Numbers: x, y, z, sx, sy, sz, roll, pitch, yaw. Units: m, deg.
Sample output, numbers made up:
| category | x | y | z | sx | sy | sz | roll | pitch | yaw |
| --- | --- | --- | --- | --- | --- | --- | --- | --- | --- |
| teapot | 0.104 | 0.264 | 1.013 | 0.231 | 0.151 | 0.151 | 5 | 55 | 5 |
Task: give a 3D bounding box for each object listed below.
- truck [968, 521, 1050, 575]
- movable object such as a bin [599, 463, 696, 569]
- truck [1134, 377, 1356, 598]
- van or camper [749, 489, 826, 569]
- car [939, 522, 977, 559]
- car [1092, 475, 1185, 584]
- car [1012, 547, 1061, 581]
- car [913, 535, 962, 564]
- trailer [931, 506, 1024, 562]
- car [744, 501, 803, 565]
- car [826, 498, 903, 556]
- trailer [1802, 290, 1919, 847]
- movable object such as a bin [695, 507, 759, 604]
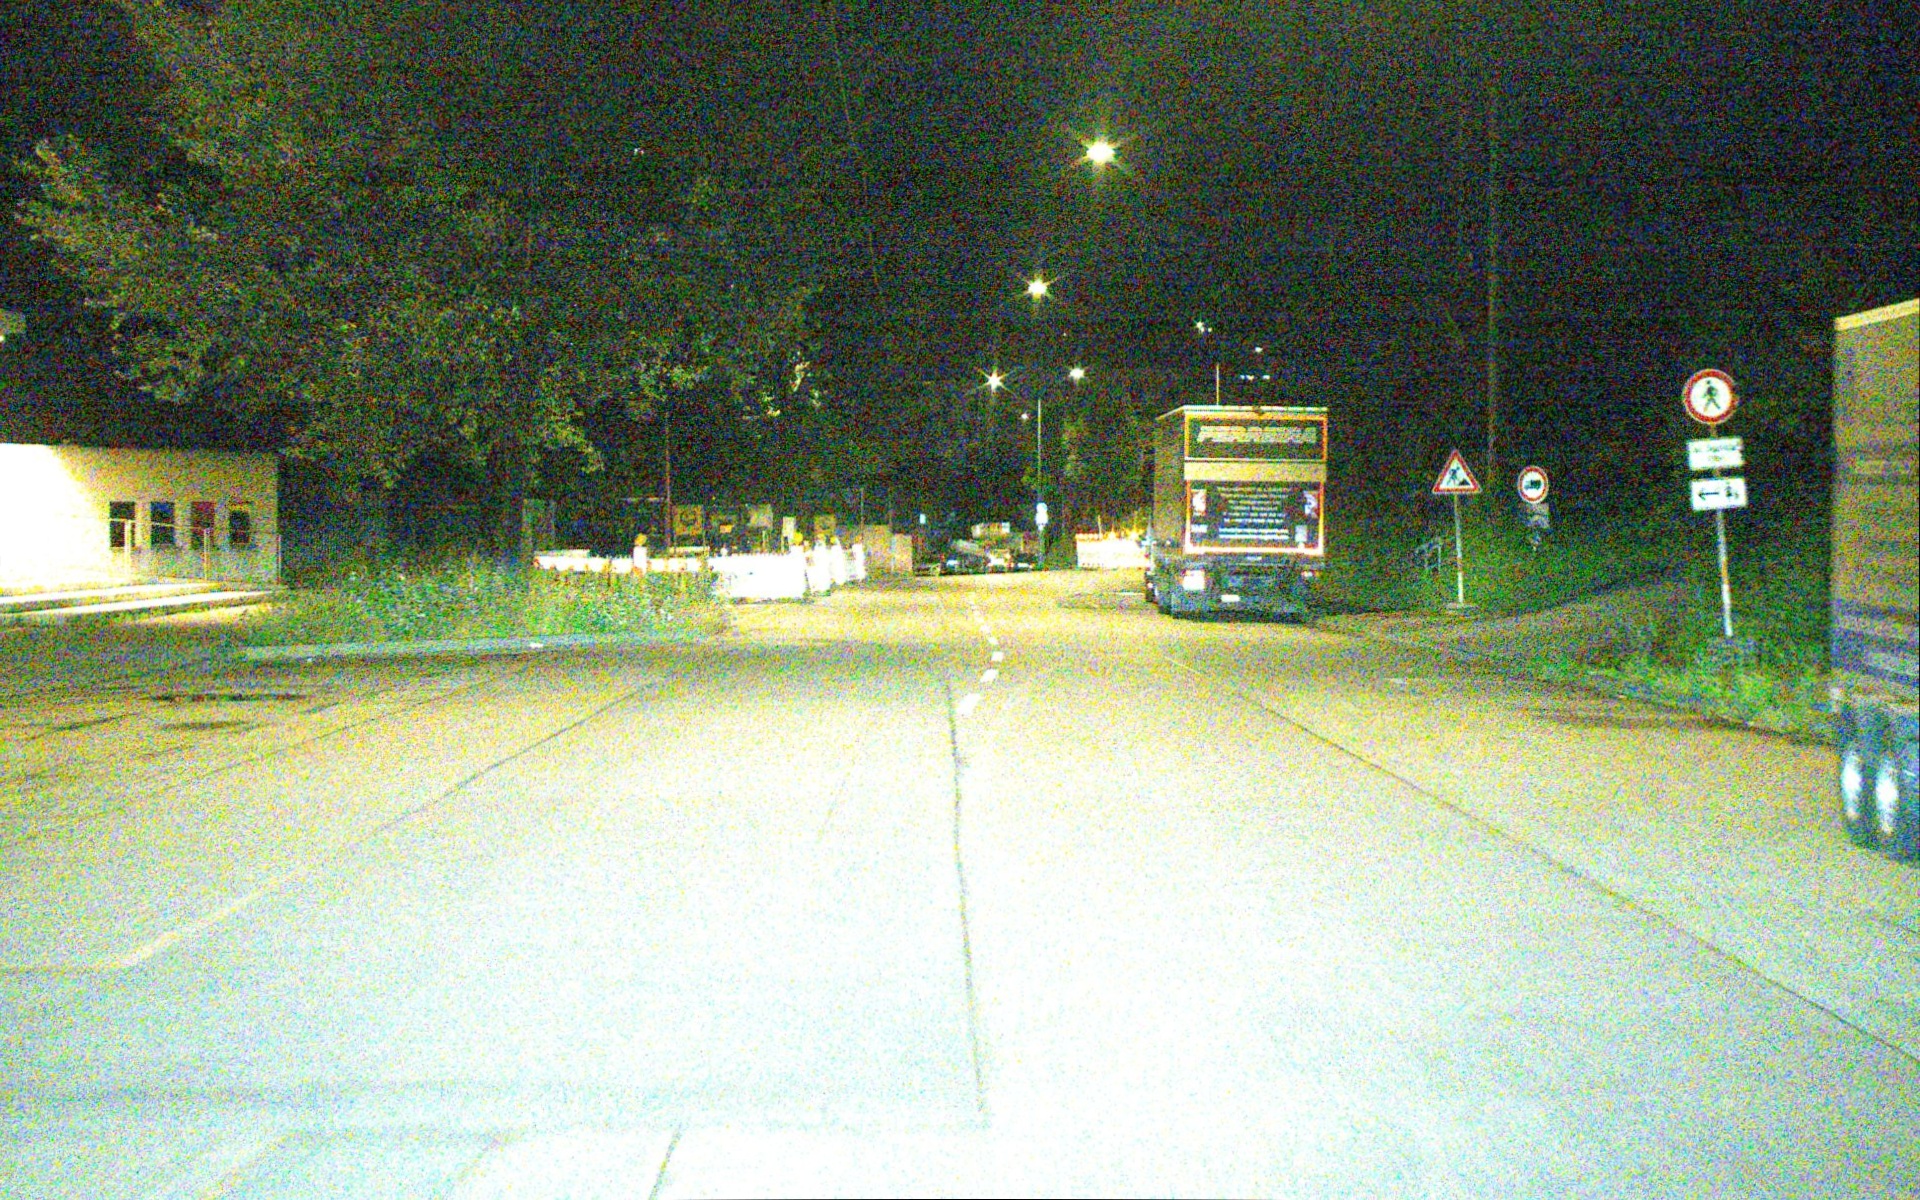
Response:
| category | x | y | z | sx | sy | sz | roll | pitch | yaw |
| --- | --- | --- | --- | --- | --- | --- | --- | --- | --- |
| truck | 3.230 | -3.442 | 224.760 | 1.996 | 3.392 | 8.968 | 2 | 2 | 24 |
| movable object such as a bin | -7.499 | -1.995 | 82.289 | 1.548 | 2.459 | 2.840 | -2 | 1 | -21 |
| truck | 5.251 | -2.070 | 65.224 | 3.324 | 3.855 | 9.328 | 1 | 1 | 0 |
| van or camper | -6.987 | -2.885 | 139.798 | 2.519 | 3.083 | 7.445 | -2 | 1 | 1 |
| car | -0.082 | -2.718 | 157.756 | 1.720 | 1.655 | 4.000 | 1 | 0 | 0 |
| car | 4.260 | -1.729 | 82.825 | 2.109 | 2.507 | 6.371 | 1 | 2 | 2 |
| car | 4.172 | -1.936 | 186.105 | 1.722 | 1.815 | 3.997 | 1 | 0 | 15 |
| car | -1.367 | -3.086 | 210.164 | 1.995 | 1.694 | 4.203 | 1 | 0 | 15 |
| trailer | 0.713 | -2.730 | 142.693 | 1.559 | 2.153 | 5.222 | -2 | 1 | -27 |
| car | -8.896 | -3.207 | 164.679 | 2.519 | 2.917 | 7.202 | -2 | 1 | -1 |
| car | -5.374 | -4.122 | 194.488 | 2.520 | 3.160 | 7.133 | -2 | 1 | 13 |
| trailer | 5.583 | -0.161 | 16.941 | 1.994 | 2.642 | 4.000 | 1 | 2 | 3 |
| movable object such as a bin | -6.944 | -1.341 | 102.037 | 1.570 | 2.724 | 3.702 | -3 | 2 | -7 |
